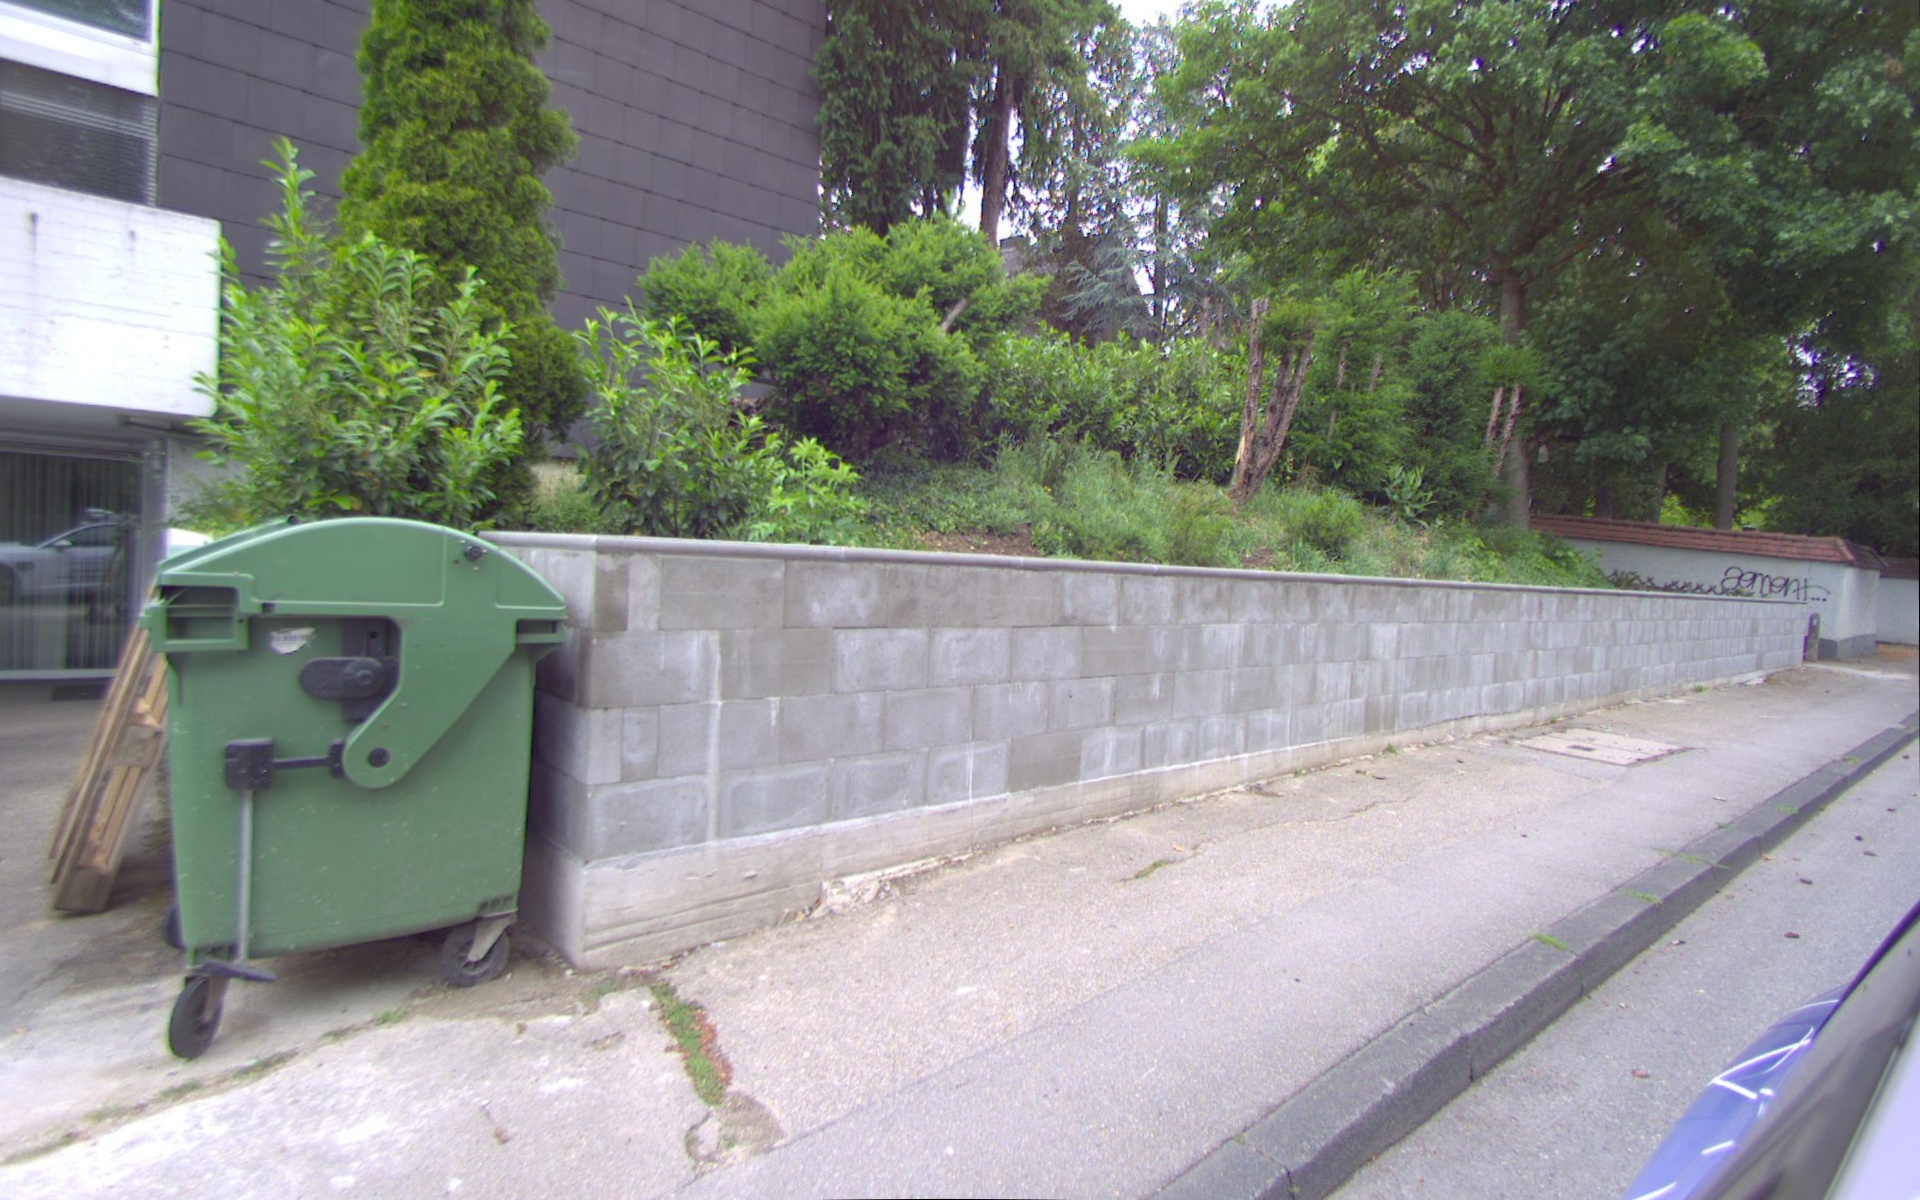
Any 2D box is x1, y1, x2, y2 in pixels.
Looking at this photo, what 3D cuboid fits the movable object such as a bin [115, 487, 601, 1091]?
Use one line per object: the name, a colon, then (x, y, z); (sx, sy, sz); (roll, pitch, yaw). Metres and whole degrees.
movable object such as a bin: (-2.005, 0.411, 3.308); (1.160, 1.468, 1.303); (0, 4, -40)
